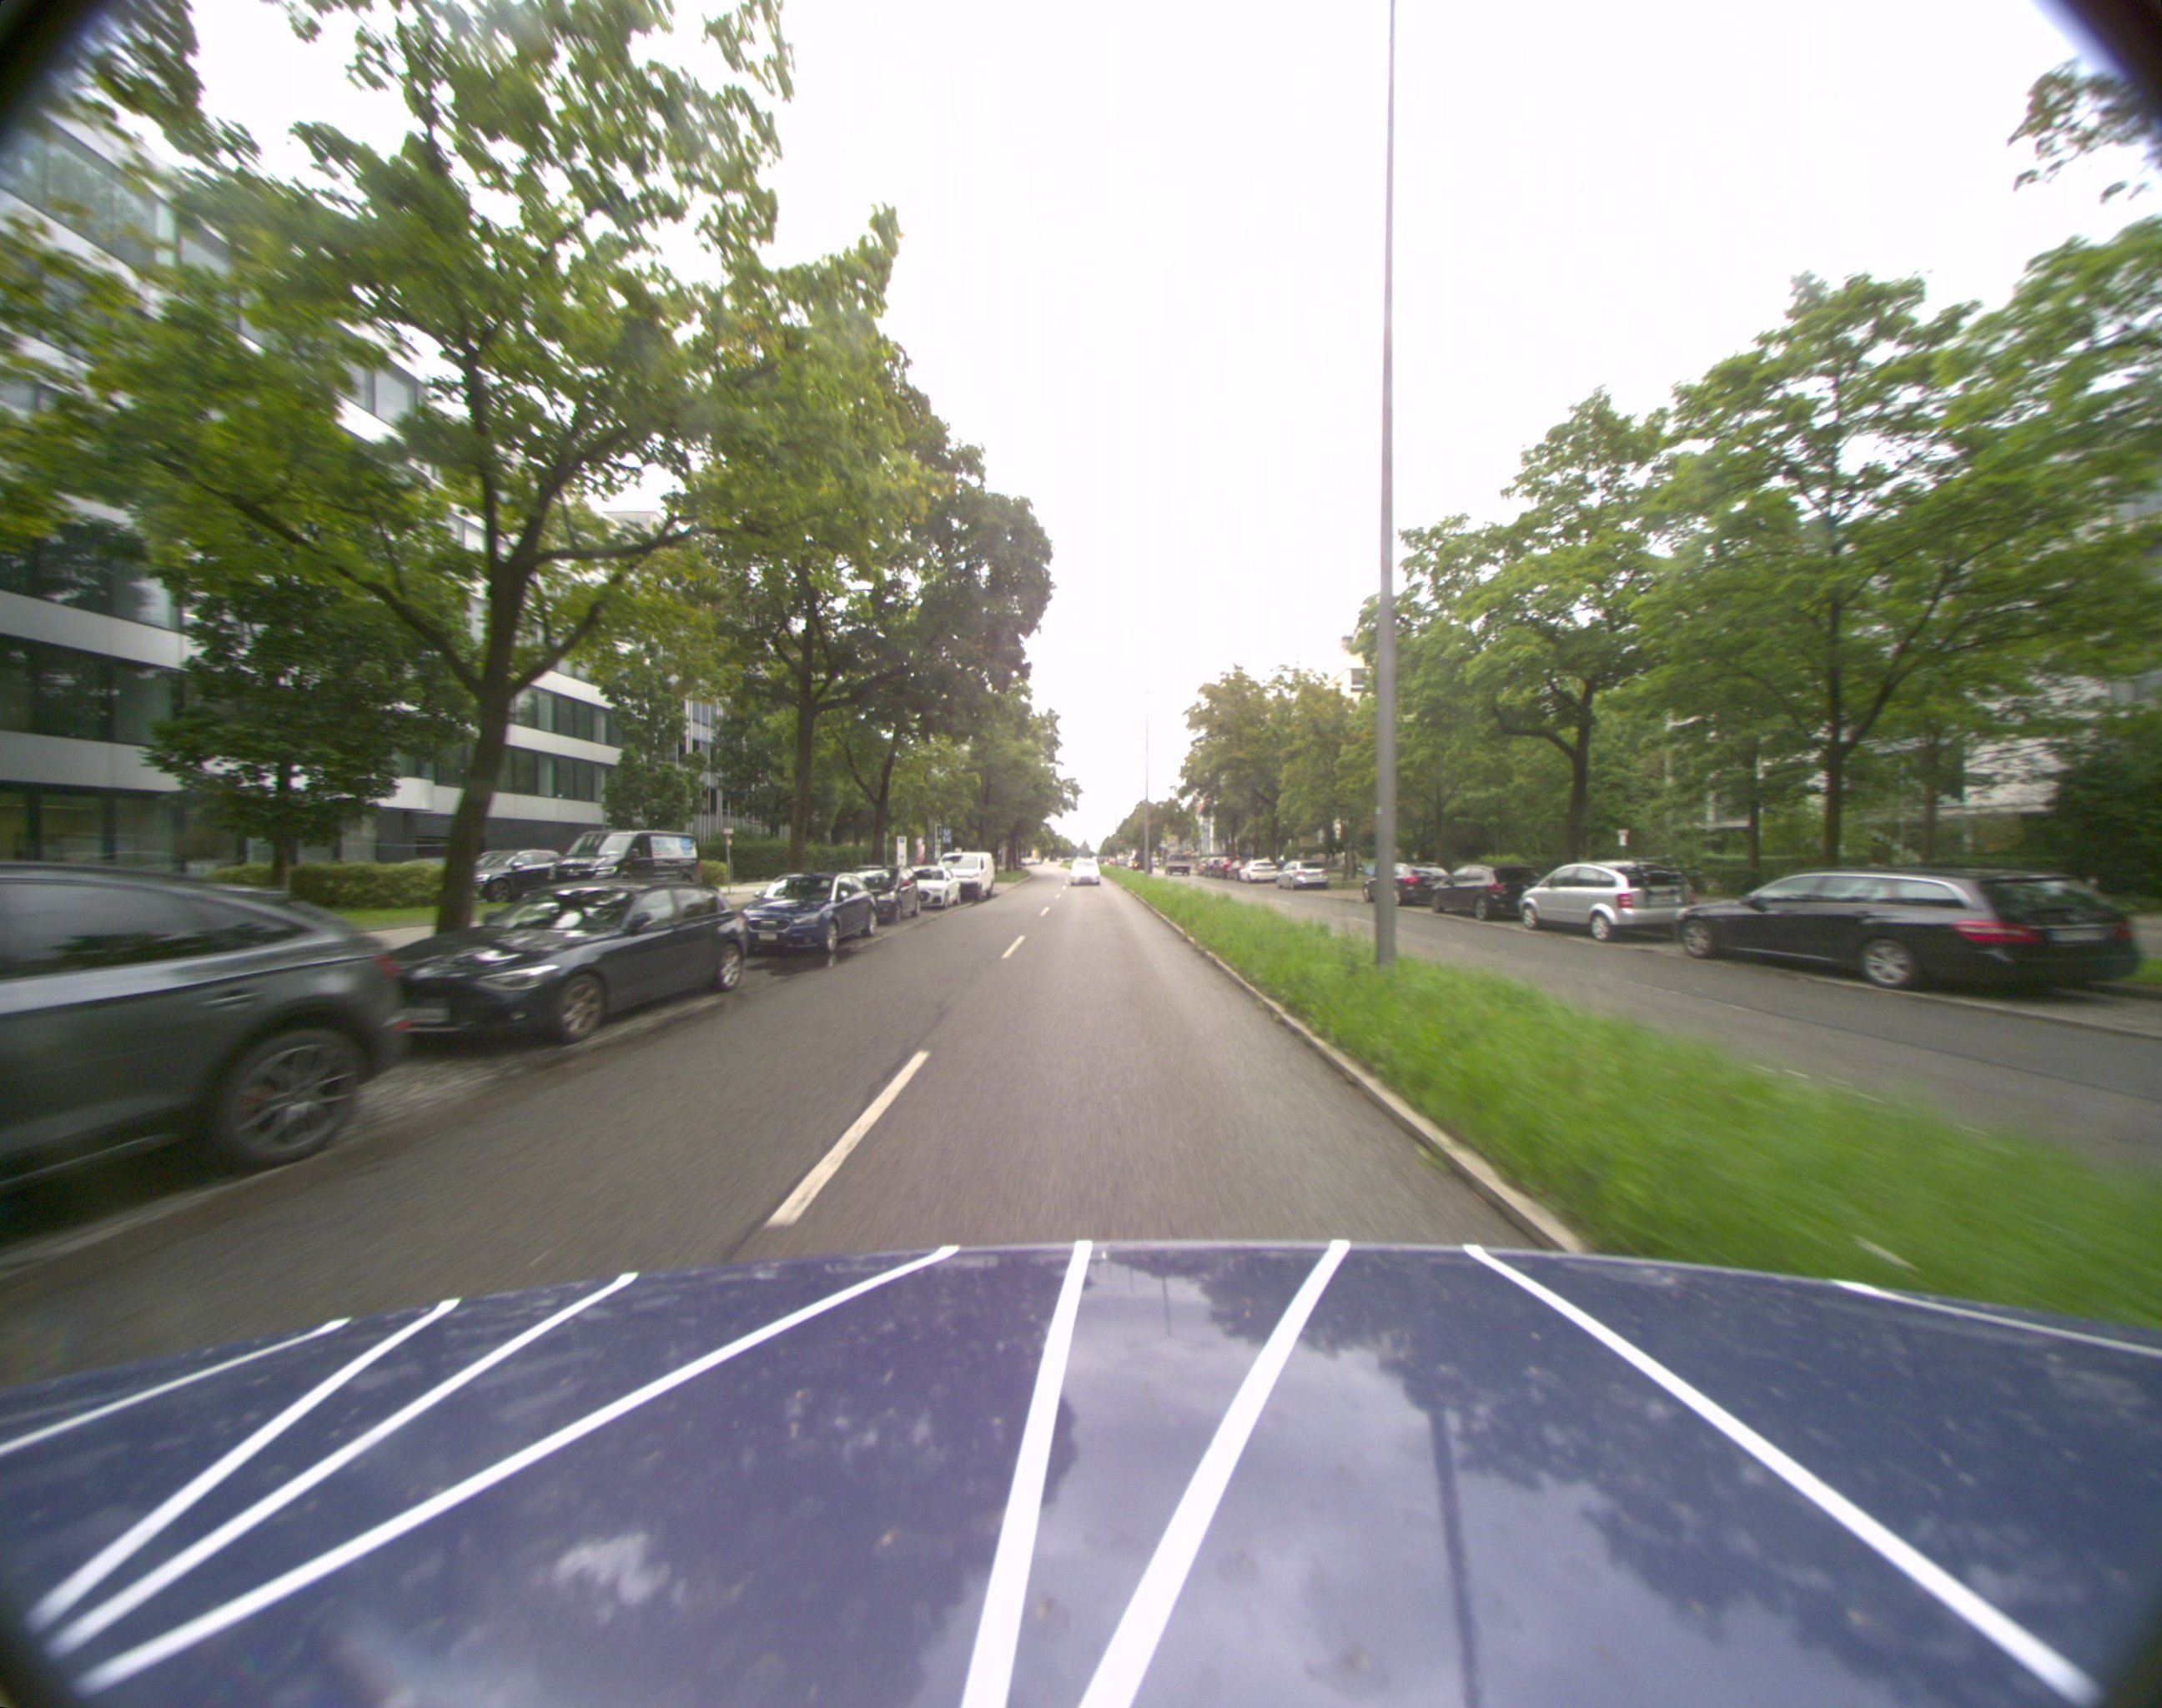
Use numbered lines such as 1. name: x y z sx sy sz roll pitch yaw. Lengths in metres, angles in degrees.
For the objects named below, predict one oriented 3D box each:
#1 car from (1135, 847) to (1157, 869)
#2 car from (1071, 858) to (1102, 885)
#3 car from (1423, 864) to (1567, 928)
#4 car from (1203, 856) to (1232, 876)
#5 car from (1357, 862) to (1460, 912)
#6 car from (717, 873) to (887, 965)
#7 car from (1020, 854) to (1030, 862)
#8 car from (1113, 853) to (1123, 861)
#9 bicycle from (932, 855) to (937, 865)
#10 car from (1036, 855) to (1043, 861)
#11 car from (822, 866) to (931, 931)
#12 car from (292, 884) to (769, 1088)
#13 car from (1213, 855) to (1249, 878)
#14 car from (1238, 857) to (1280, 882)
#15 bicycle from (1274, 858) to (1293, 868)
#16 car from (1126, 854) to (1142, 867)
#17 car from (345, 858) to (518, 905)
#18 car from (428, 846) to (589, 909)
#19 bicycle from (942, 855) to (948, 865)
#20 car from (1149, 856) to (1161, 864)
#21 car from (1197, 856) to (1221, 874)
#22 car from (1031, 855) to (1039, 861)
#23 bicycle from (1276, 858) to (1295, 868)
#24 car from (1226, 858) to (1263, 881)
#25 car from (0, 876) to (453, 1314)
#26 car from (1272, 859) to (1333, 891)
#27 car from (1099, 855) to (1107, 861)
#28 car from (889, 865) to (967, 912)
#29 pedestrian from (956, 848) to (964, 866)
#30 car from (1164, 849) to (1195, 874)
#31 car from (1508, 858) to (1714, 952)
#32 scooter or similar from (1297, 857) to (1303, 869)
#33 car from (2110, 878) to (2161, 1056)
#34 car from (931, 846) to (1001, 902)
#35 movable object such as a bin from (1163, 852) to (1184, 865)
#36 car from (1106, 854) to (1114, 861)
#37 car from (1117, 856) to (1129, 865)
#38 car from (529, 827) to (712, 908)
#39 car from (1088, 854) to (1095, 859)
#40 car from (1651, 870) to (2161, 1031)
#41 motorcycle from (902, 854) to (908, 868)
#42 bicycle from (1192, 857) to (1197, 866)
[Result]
1. car: 6.350 0.388 74.760 1.785 2.017 4.818 1 0 0
2. car: 0.337 0.959 43.417 1.679 1.433 3.735 1 0 1
3. car: 10.886 1.039 20.355 1.629 1.415 4.192 -3 0 2
4. car: 11.582 0.999 64.730 1.743 1.634 4.684 -1 0 1
5. car: 10.932 1.052 25.708 1.584 1.415 4.362 -3 0 0
6. car: -5.176 1.138 14.734 1.706 1.413 4.121 1 0 1
7. car: -11.309 0.777 152.720 1.866 1.581 4.602 1 0 -2
8. car: 7.529 0.636 153.999 1.920 1.475 4.865 1 0 1
9. bicycle: -17.726 0.692 92.099 0.513 1.182 2.140 0 0 -10
10. car: -10.835 0.964 200.305 1.590 1.495 3.735 1 0 1
11. car: -5.233 1.081 19.932 1.706 1.438 3.978 1 0 1
12. car: -5.282 1.124 8.242 1.705 1.400 4.513 1 0 3
13. car: 11.567 0.971 58.887 1.743 1.642 4.606 -2 0 -1
14. car: 11.376 0.952 48.840 1.743 1.521 4.475 -2 0 1
15. bicycle: 20.024 0.879 74.985 1.766 1.001 0.436 0 0 0
16. car: 6.760 0.863 97.227 1.838 1.633 4.350 1 0 0
17. car: -21.270 0.845 25.101 1.784 1.366 3.970 -1 0 19
18. car: -18.088 0.683 24.330 1.847 1.807 4.471 1 0 -1
19. bicycle: -16.456 0.665 91.697 0.447 1.182 1.954 0 0 -3
20. car: 13.398 1.092 137.609 1.651 1.480 3.901 1 0 -1
21. car: 11.795 0.978 70.208 1.651 1.604 3.819 -1 0 2
22. car: -11.040 0.973 183.211 1.590 1.310 3.735 1 0 1
23. bicycle: 20.024 0.862 74.392 1.766 1.001 0.436 0 0 0
24. car: 11.508 1.053 53.776 1.743 1.474 4.334 -2 0 1
25. car: -5.220 0.988 2.718 1.817 1.666 4.800 1 0 3
26. car: 11.301 1.010 39.112 1.741 1.440 4.822 -3 0 0
27. car: 5.433 1.056 185.676 1.962 1.471 4.259 0 0 1
28. car: -5.058 1.112 25.695 1.706 1.389 4.233 1 0 1
29. pedestrian: -12.670 0.339 79.569 0.652 1.888 0.750 0 0 12
30. car: 9.184 0.650 71.348 2.214 2.181 5.799 2 0 0
31. car: 10.810 0.953 15.881 1.629 1.638 3.868 -3 0 1
32. scooter or similar: 19.901 0.792 69.004 0.436 1.120 1.291 0 0 13
33. car: 10.571 1.004 5.080 1.689 1.587 4.210 -2 0 1
34. car: -4.738 0.756 32.025 1.992 2.145 5.555 1 0 1
35. movable object such as a bin: 13.895 0.705 114.331 2.199 1.941 3.998 0 0 -5
36. car: 6.587 0.776 171.921 1.696 1.394 3.967 0 0 0
37. car: 7.331 1.088 133.132 1.770 1.615 4.376 1 0 1
38. car: -14.700 0.395 24.865 2.271 2.293 6.267 1 0 -1
39. car: 2.734 0.580 200.723 1.787 1.397 4.101 1 0 -1
40. car: 10.704 1.079 10.575 1.720 1.515 5.034 -3 0 0
41. motorcycle: -16.709 0.684 72.040 0.550 1.311 2.071 0 0 -14
42. bicycle: 14.626 0.946 97.949 0.409 1.071 1.955 -4 0 3
